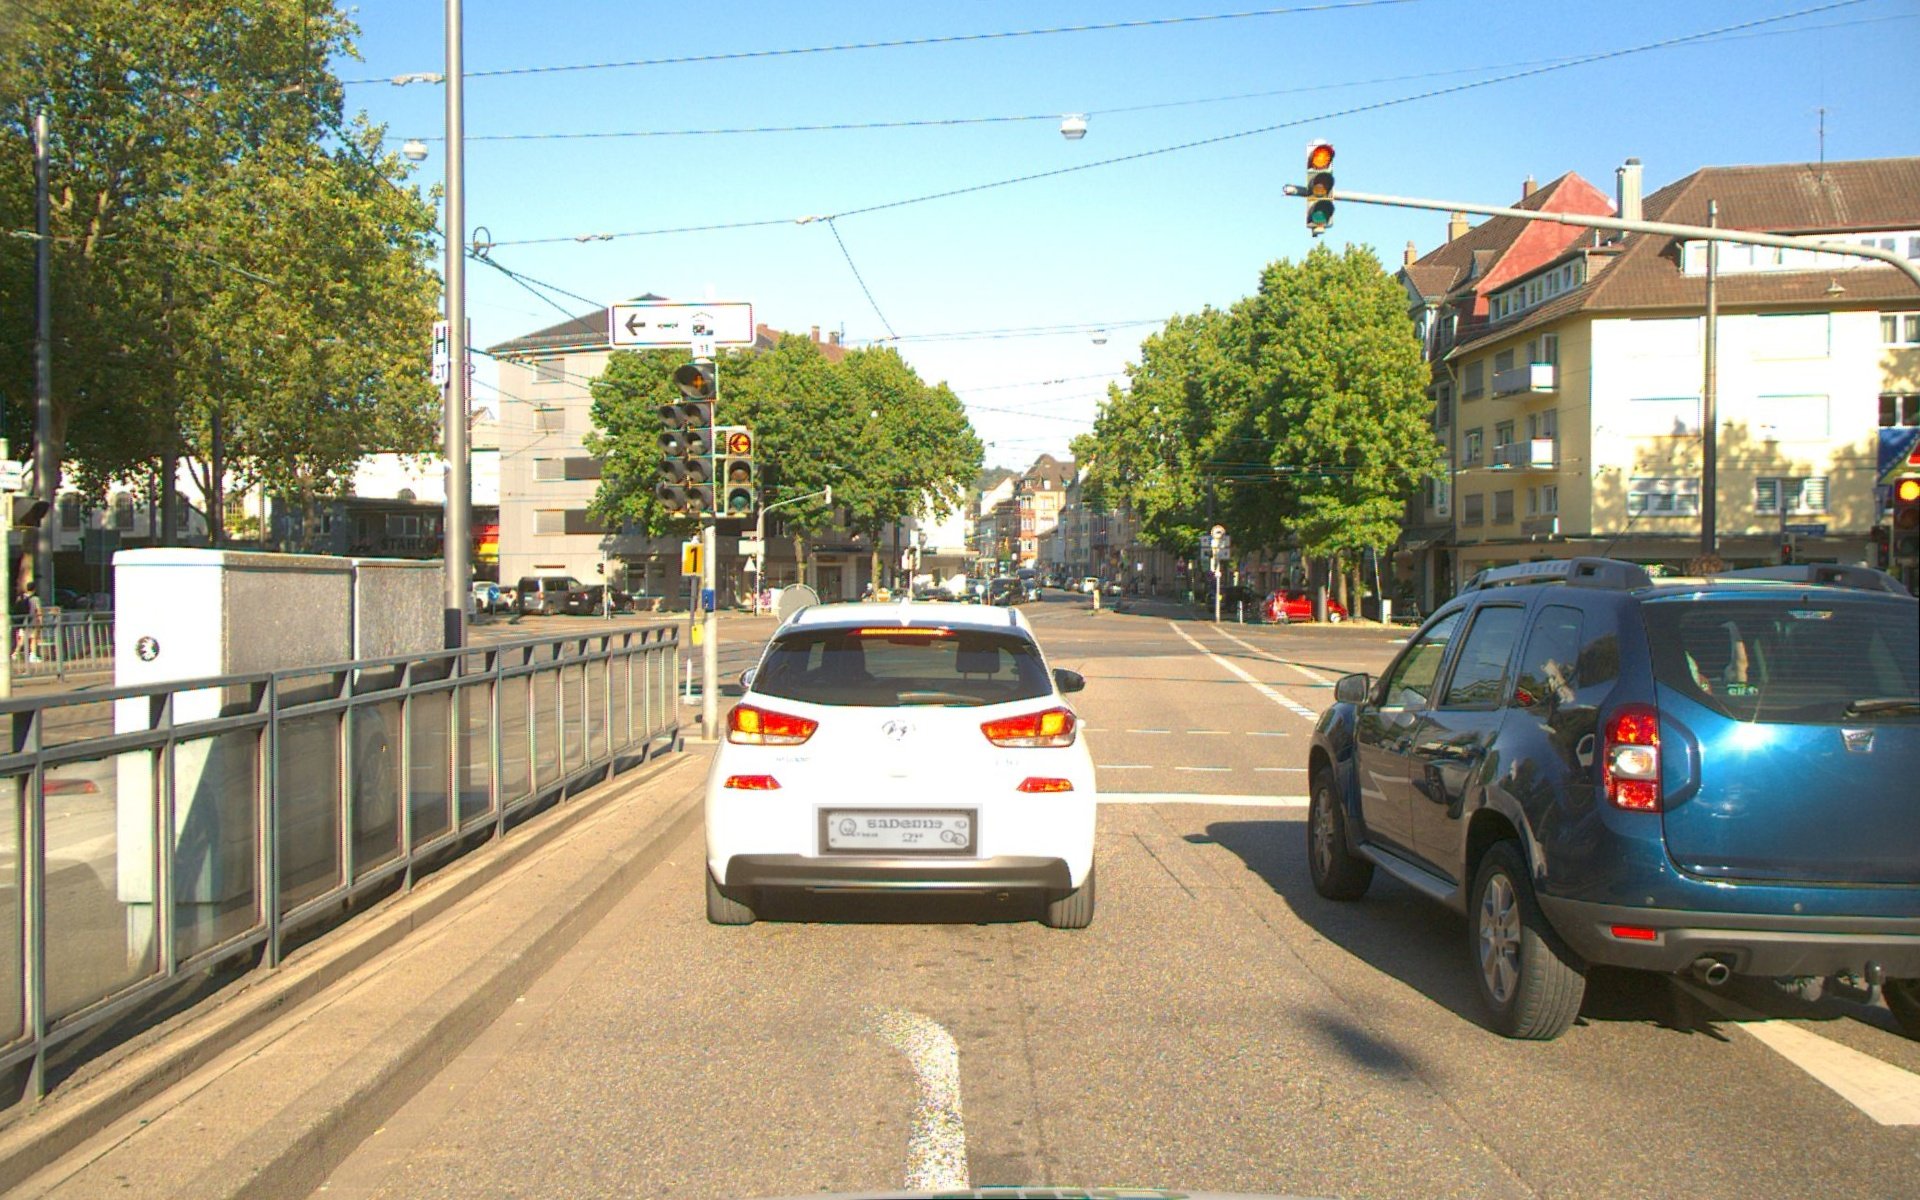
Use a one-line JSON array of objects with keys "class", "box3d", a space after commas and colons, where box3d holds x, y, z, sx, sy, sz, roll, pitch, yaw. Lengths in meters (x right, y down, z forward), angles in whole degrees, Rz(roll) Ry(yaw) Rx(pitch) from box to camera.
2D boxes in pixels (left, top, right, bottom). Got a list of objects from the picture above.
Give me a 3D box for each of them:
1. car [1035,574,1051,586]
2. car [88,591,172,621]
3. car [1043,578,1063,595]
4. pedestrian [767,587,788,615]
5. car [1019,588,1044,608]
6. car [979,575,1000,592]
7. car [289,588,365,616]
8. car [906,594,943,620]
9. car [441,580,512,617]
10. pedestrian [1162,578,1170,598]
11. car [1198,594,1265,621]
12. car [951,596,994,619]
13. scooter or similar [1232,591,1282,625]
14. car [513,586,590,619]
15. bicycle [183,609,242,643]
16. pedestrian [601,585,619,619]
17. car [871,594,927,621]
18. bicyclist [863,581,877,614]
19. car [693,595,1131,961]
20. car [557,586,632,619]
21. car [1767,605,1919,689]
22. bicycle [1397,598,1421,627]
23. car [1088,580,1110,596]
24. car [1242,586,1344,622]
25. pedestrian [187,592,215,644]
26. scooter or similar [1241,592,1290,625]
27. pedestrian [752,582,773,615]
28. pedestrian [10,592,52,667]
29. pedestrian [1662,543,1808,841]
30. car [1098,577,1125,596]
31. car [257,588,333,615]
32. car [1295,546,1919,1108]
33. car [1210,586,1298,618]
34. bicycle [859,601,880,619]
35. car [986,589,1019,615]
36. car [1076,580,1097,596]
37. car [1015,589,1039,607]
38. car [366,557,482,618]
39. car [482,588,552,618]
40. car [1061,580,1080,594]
[{"class": "car", "box3d": [10.820, -2.593, 215.772, 1.758, 1.537, 3.999, 0, 0, -1]}, {"class": "car", "box3d": [-43.968, 0.303, 87.612, 3.904, 1.537, 1.800, 0, 0, 20]}, {"class": "car", "box3d": [11.811, -1.711, 210.317, 2.280, 2.049, 4.975, 0, 0, -1]}, {"class": "pedestrian", "box3d": [-9.956, 0.030, 90.251, 0.786, 1.510, 0.861, 0, 0, 25]}, {"class": "car", "box3d": [5.677, -0.157, 131.662, 1.758, 1.537, 3.999, 0, 0, -2]}, {"class": "car", "box3d": [2.740, -1.552, 154.537, 1.758, 1.537, 3.999, 0, 0, -2]}, {"class": "car", "box3d": [-36.040, 0.085, 94.265, 1.758, 1.537, 3.999, 0, 0, 23]}, {"class": "car", "box3d": [-2.181, 0.429, 101.453, 1.756, 1.537, 4.003, 0, 0, 6]}, {"class": "car", "box3d": [-26.268, -0.097, 89.927, 1.756, 1.990, 4.002, 0, 0, 18]}, {"class": "pedestrian", "box3d": [18.093, -1.034, 144.985, 0.634, 1.680, 0.651, 1, -1, 10]}, {"class": "car", "box3d": [15.701, 0.415, 95.618, 3.967, 1.537, 1.772, 0, 0, -43]}, {"class": "car", "box3d": [0.850, 0.507, 109.549, 1.756, 1.537, 4.002, 0, 0, 18]}, {"class": "scooter or similar", "box3d": [11.667, 0.312, 65.012, 1.915, 1.303, 0.550, 0, 0, 41]}, {"class": "car", "box3d": [-21.470, 0.112, 87.070, 1.760, 1.677, 4.004, 0, 0, 28]}, {"class": "bicycle", "box3d": [-25.108, 0.874, 55.556, 1.757, 1.127, 0.500, 0, 0, 2]}, {"class": "pedestrian", "box3d": [-17.420, 0.093, 82.378, 0.634, 1.690, 0.650, 0, 0, 20]}, {"class": "car", "box3d": [-3.491, 0.432, 95.446, 1.689, 1.537, 3.874, 0, 0, 24]}, {"class": "bicyclist", "box3d": [-4.954, -0.142, 91.057, 0.458, 1.776, 0.717, 0, 0, 22]}, {"class": "car", "box3d": [-0.232, 0.724, 8.766, 1.771, 1.478, 3.999, 1, 0, -1]}, {"class": "car", "box3d": [-19.057, 0.110, 86.393, 1.881, 1.677, 4.181, 0, 0, 20]}, {"class": "car", "box3d": [17.419, 0.858, 31.361, 3.984, 1.464, 1.791, 1, 1, -27]}, {"class": "bicycle", "box3d": [17.639, 0.478, 64.991, 0.596, 1.127, 1.801, 0, 0, 4]}, {"class": "car", "box3d": [13.417, -1.148, 159.919, 1.758, 1.537, 3.999, 0, 0, -1]}, {"class": "car", "box3d": [14.262, 0.163, 70.905, 3.913, 1.537, 1.796, 0, 0, -9]}, {"class": "pedestrian", "box3d": [-25.265, 0.595, 55.076, 0.634, 1.690, 0.650, 0, 0, 2]}, {"class": "scooter or similar", "box3d": [12.117, 0.327, 65.567, 1.915, 1.303, 0.550, 0, 0, 41]}, {"class": "pedestrian", "box3d": [-10.556, -0.083, 88.464, 0.820, 1.802, 0.782, 0, 0, 25]}, {"class": "pedestrian", "box3d": [-19.873, 0.625, 35.385, 0.524, 1.579, 0.677, 0, 0, -1]}, {"class": "pedestrian", "box3d": [5.109, 0.587, 10.940, 0.643, 1.904, 0.677, 0, 0, -1]}, {"class": "car", "box3d": [14.034, -1.248, 153.397, 2.062, 1.807, 4.340, 0, 0, -1]}, {"class": "car", "box3d": [-38.412, 0.055, 95.601, 1.758, 1.537, 3.999, 0, 0, 23]}, {"class": "car", "box3d": [2.741, 0.668, 6.950, 1.763, 1.666, 4.044, 0, 0, -1]}, {"class": "car", "box3d": [14.442, 0.106, 81.392, 3.910, 1.537, 1.798, 0, 0, -7]}, {"class": "bicycle", "box3d": [-4.957, 0.565, 91.055, 0.458, 0.973, 1.767, 0, 0, 22]}, {"class": "car", "box3d": [3.011, 0.132, 117.011, 1.756, 1.858, 4.004, 0, 0, 10]}, {"class": "car", "box3d": [12.682, -1.201, 166.070, 1.758, 1.537, 3.999, 0, 0, -1]}, {"class": "car", "box3d": [5.641, -0.187, 139.647, 1.758, 1.537, 3.999, 0, 0, -2]}, {"class": "car", "box3d": [-29.345, -0.688, 90.886, 2.445, 3.220, 6.534, 0, 0, 22]}, {"class": "car", "box3d": [-23.809, 0.145, 89.057, 1.756, 1.537, 4.012, 0, 0, 18]}, {"class": "car", "box3d": [12.389, -1.445, 185.304, 1.758, 1.549, 3.999, 0, 0, -1]}]
